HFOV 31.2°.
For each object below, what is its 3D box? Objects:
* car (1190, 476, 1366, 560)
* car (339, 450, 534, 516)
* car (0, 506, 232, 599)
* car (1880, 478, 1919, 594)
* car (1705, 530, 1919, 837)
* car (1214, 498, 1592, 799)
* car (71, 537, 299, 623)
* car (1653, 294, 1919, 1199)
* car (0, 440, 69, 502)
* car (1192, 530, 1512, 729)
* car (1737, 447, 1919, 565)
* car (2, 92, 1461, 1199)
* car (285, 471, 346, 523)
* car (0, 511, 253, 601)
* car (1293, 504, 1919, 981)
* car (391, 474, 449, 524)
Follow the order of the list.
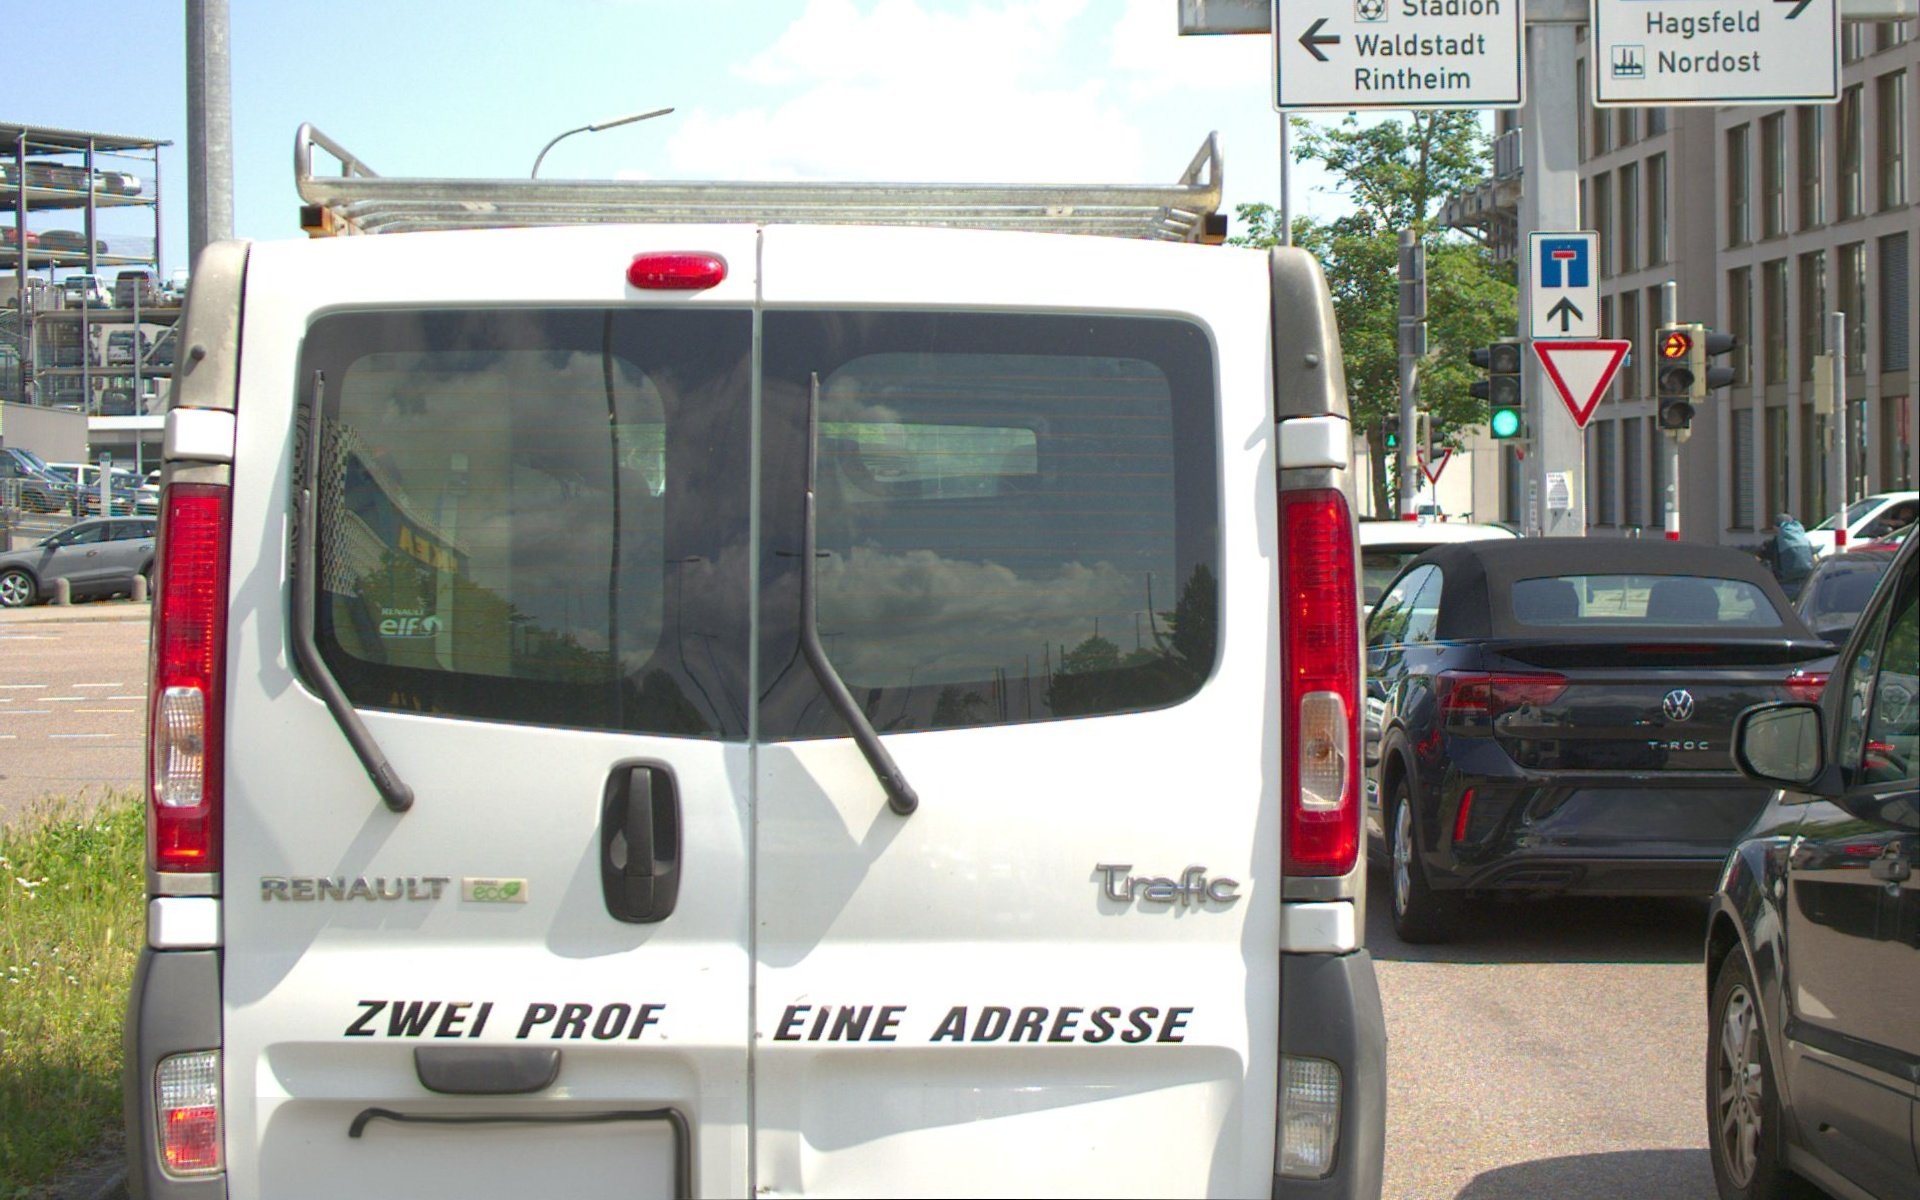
[{"bbox_3d":[7.898,-2.021,85.658,3.986,2.007,2.000,1,0,-8],"label":"car"},{"bbox_3d":[-17.622,-3.937,115.945,6.386,2.095,1.765,1,0,-5],"label":"car"},{"bbox_3d":[-16.192,-0.902,64.801,4.574,1.672,1.907,1,0,-3],"label":"car"},{"bbox_3d":[15.486,-0.879,48.987,4.197,1.621,1.828,1,0,-8],"label":"car"},{"bbox_3d":[5.724,0.594,20.730,1.859,1.650,4.217,1,-4,5],"label":"car"},{"bbox_3d":[2.546,0.222,20.629,1.774,1.624,4.000,0,1,1],"label":"car"},{"bbox_3d":[-16.994,-0.458,75.545,4.574,1.672,1.908,-2,3,-3],"label":"car"},{"bbox_3d":[2.476,0.449,5.805,1.823,1.898,4.000,0,1,1],"label":"car"},{"bbox_3d":[-29.263,-3.896,103.548,4.440,1.795,1.765,1,0,-6],"label":"car"},{"bbox_3d":[3.010,0.196,27.217,1.854,1.437,4.001,1,1,-3],"label":"car"},{"bbox_3d":[15.341,-1.490,55.653,4.975,1.831,2.000,1,0,-8],"label":"car"},{"bbox_3d":[-0.336,0.298,6.949,1.973,2.053,4.565,0,1,-1],"label":"car"},{"bbox_3d":[-20.401,-3.246,108.976,1.560,1.547,3.603,1,1,-5],"label":"car"},{"bbox_3d":[-16.344,-0.865,67.520,4.574,1.672,1.907,1,0,-3],"label":"car"},{"bbox_3d":[2.398,0.447,13.747,1.774,1.624,4.000,0,1,1],"label":"car"},{"bbox_3d":[-17.031,-3.174,108.525,1.560,1.546,3.603,0,1,-5],"label":"car"}]
